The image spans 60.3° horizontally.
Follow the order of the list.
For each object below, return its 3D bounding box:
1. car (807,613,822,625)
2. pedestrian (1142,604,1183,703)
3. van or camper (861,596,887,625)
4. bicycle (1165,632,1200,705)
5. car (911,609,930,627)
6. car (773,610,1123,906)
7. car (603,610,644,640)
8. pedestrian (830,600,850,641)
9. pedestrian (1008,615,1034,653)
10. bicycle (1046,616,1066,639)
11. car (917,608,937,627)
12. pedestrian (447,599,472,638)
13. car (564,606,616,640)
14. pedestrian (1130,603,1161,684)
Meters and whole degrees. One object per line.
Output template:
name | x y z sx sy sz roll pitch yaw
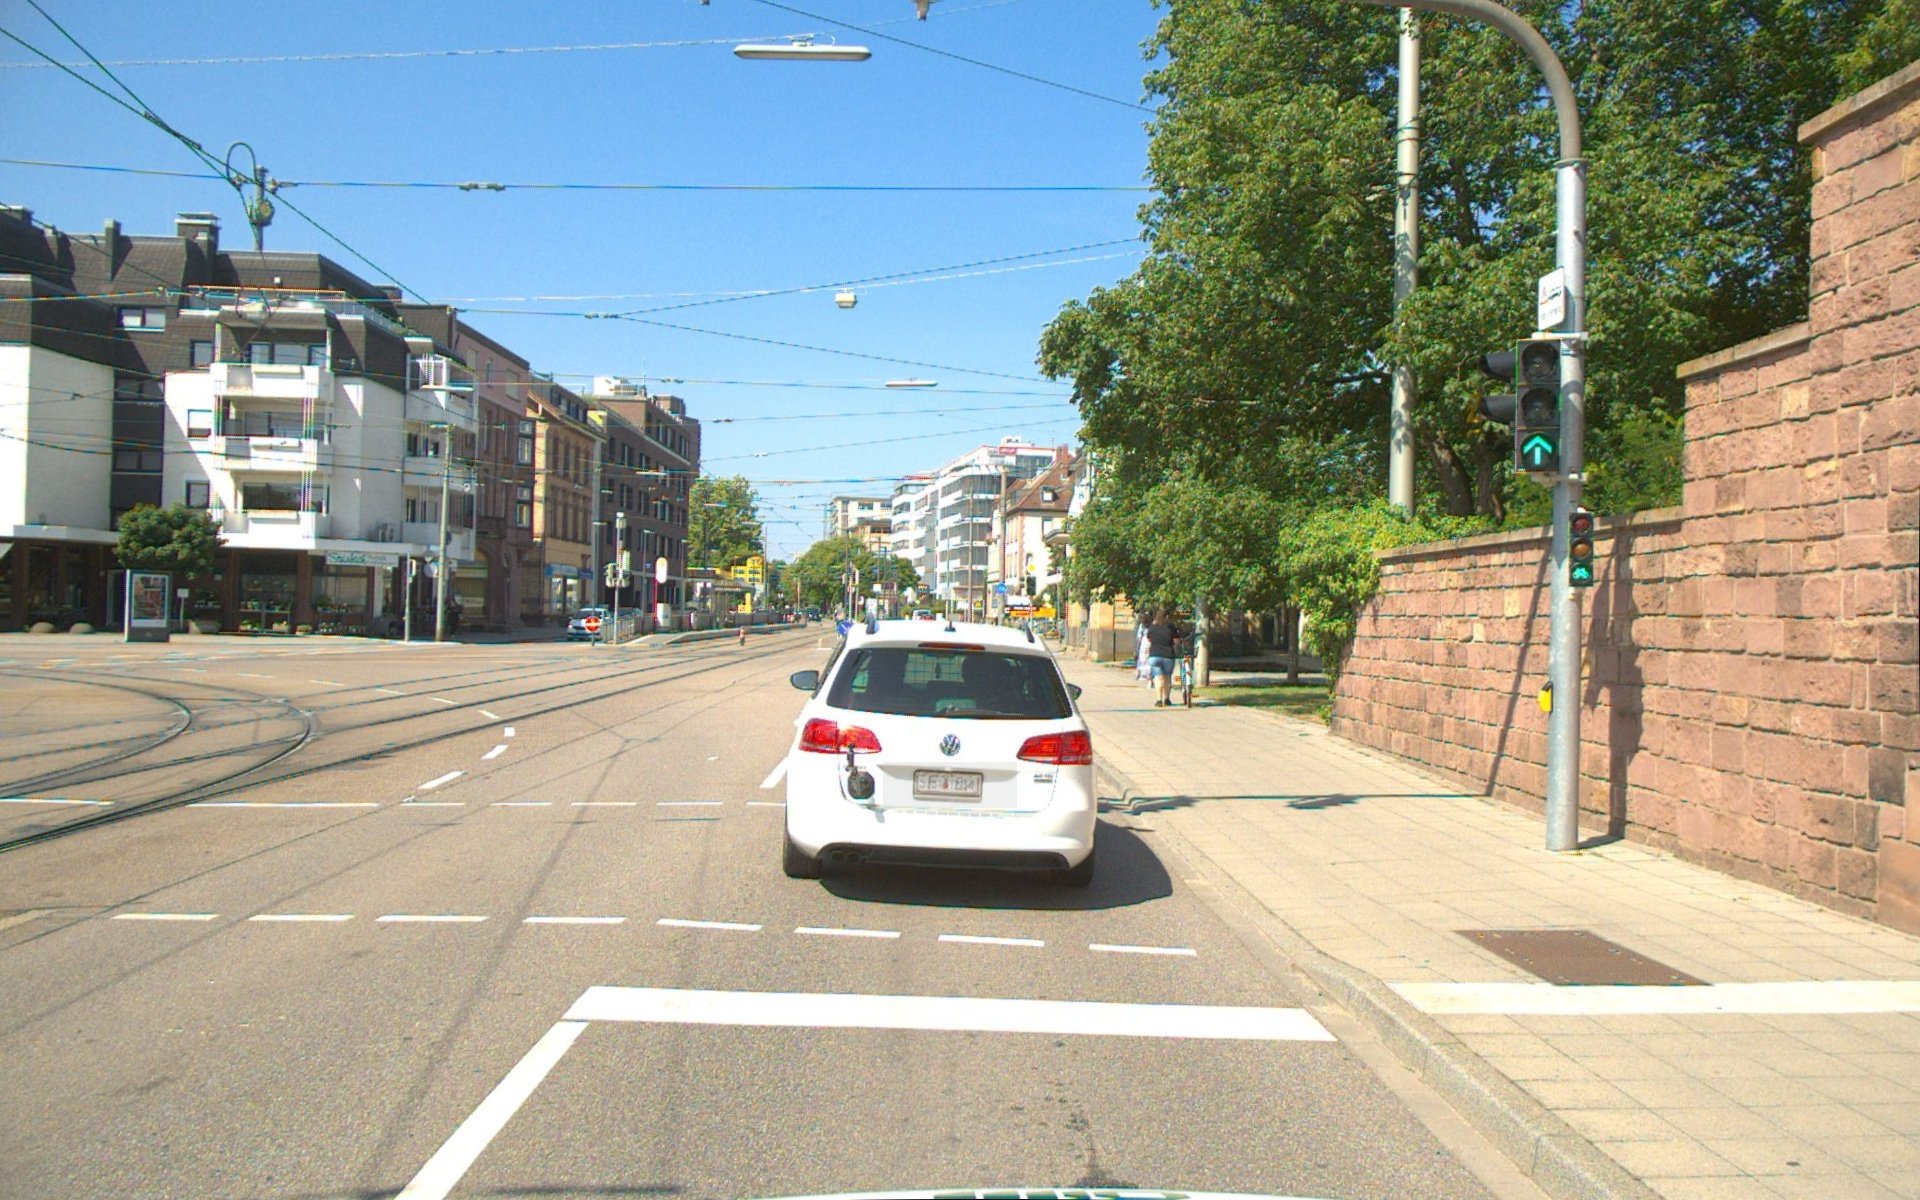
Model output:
car | -18.922 2.498 215.466 1.634 1.492 3.772 1 0 -1
pedestrian | 3.297 0.859 26.936 0.529 1.576 0.663 -1 -1 -2
van or camper | -9.951 1.207 192.102 2.885 3.235 6.609 1 0 -3
bicycle | 3.600 1.079 26.694 0.524 1.131 1.808 0 -1 8
car | -4.630 2.043 193.602 1.955 2.049 3.995 1 0 -6
car | -0.081 0.801 10.150 1.717 1.442 3.852 1 -1 -1
car | -16.995 1.255 83.723 1.542 1.485 3.810 1 0 -4
pedestrian | -5.404 0.938 74.659 0.810 1.841 0.833 1 -1 -1
pedestrian | 2.526 1.416 68.417 0.839 1.536 0.780 1 -1 28
bicycle | 4.985 1.401 85.909 0.710 1.159 2.196 1 -1 11
car | -3.785 2.001 188.208 1.955 2.049 3.995 1 0 -6
pedestrian | -21.836 0.814 72.155 0.864 1.676 0.677 1 -1 39
car | -16.963 1.036 75.973 1.593 1.456 3.960 2 -1 -3
pedestrian | 3.991 0.918 35.511 0.636 1.711 0.708 1 -1 6
